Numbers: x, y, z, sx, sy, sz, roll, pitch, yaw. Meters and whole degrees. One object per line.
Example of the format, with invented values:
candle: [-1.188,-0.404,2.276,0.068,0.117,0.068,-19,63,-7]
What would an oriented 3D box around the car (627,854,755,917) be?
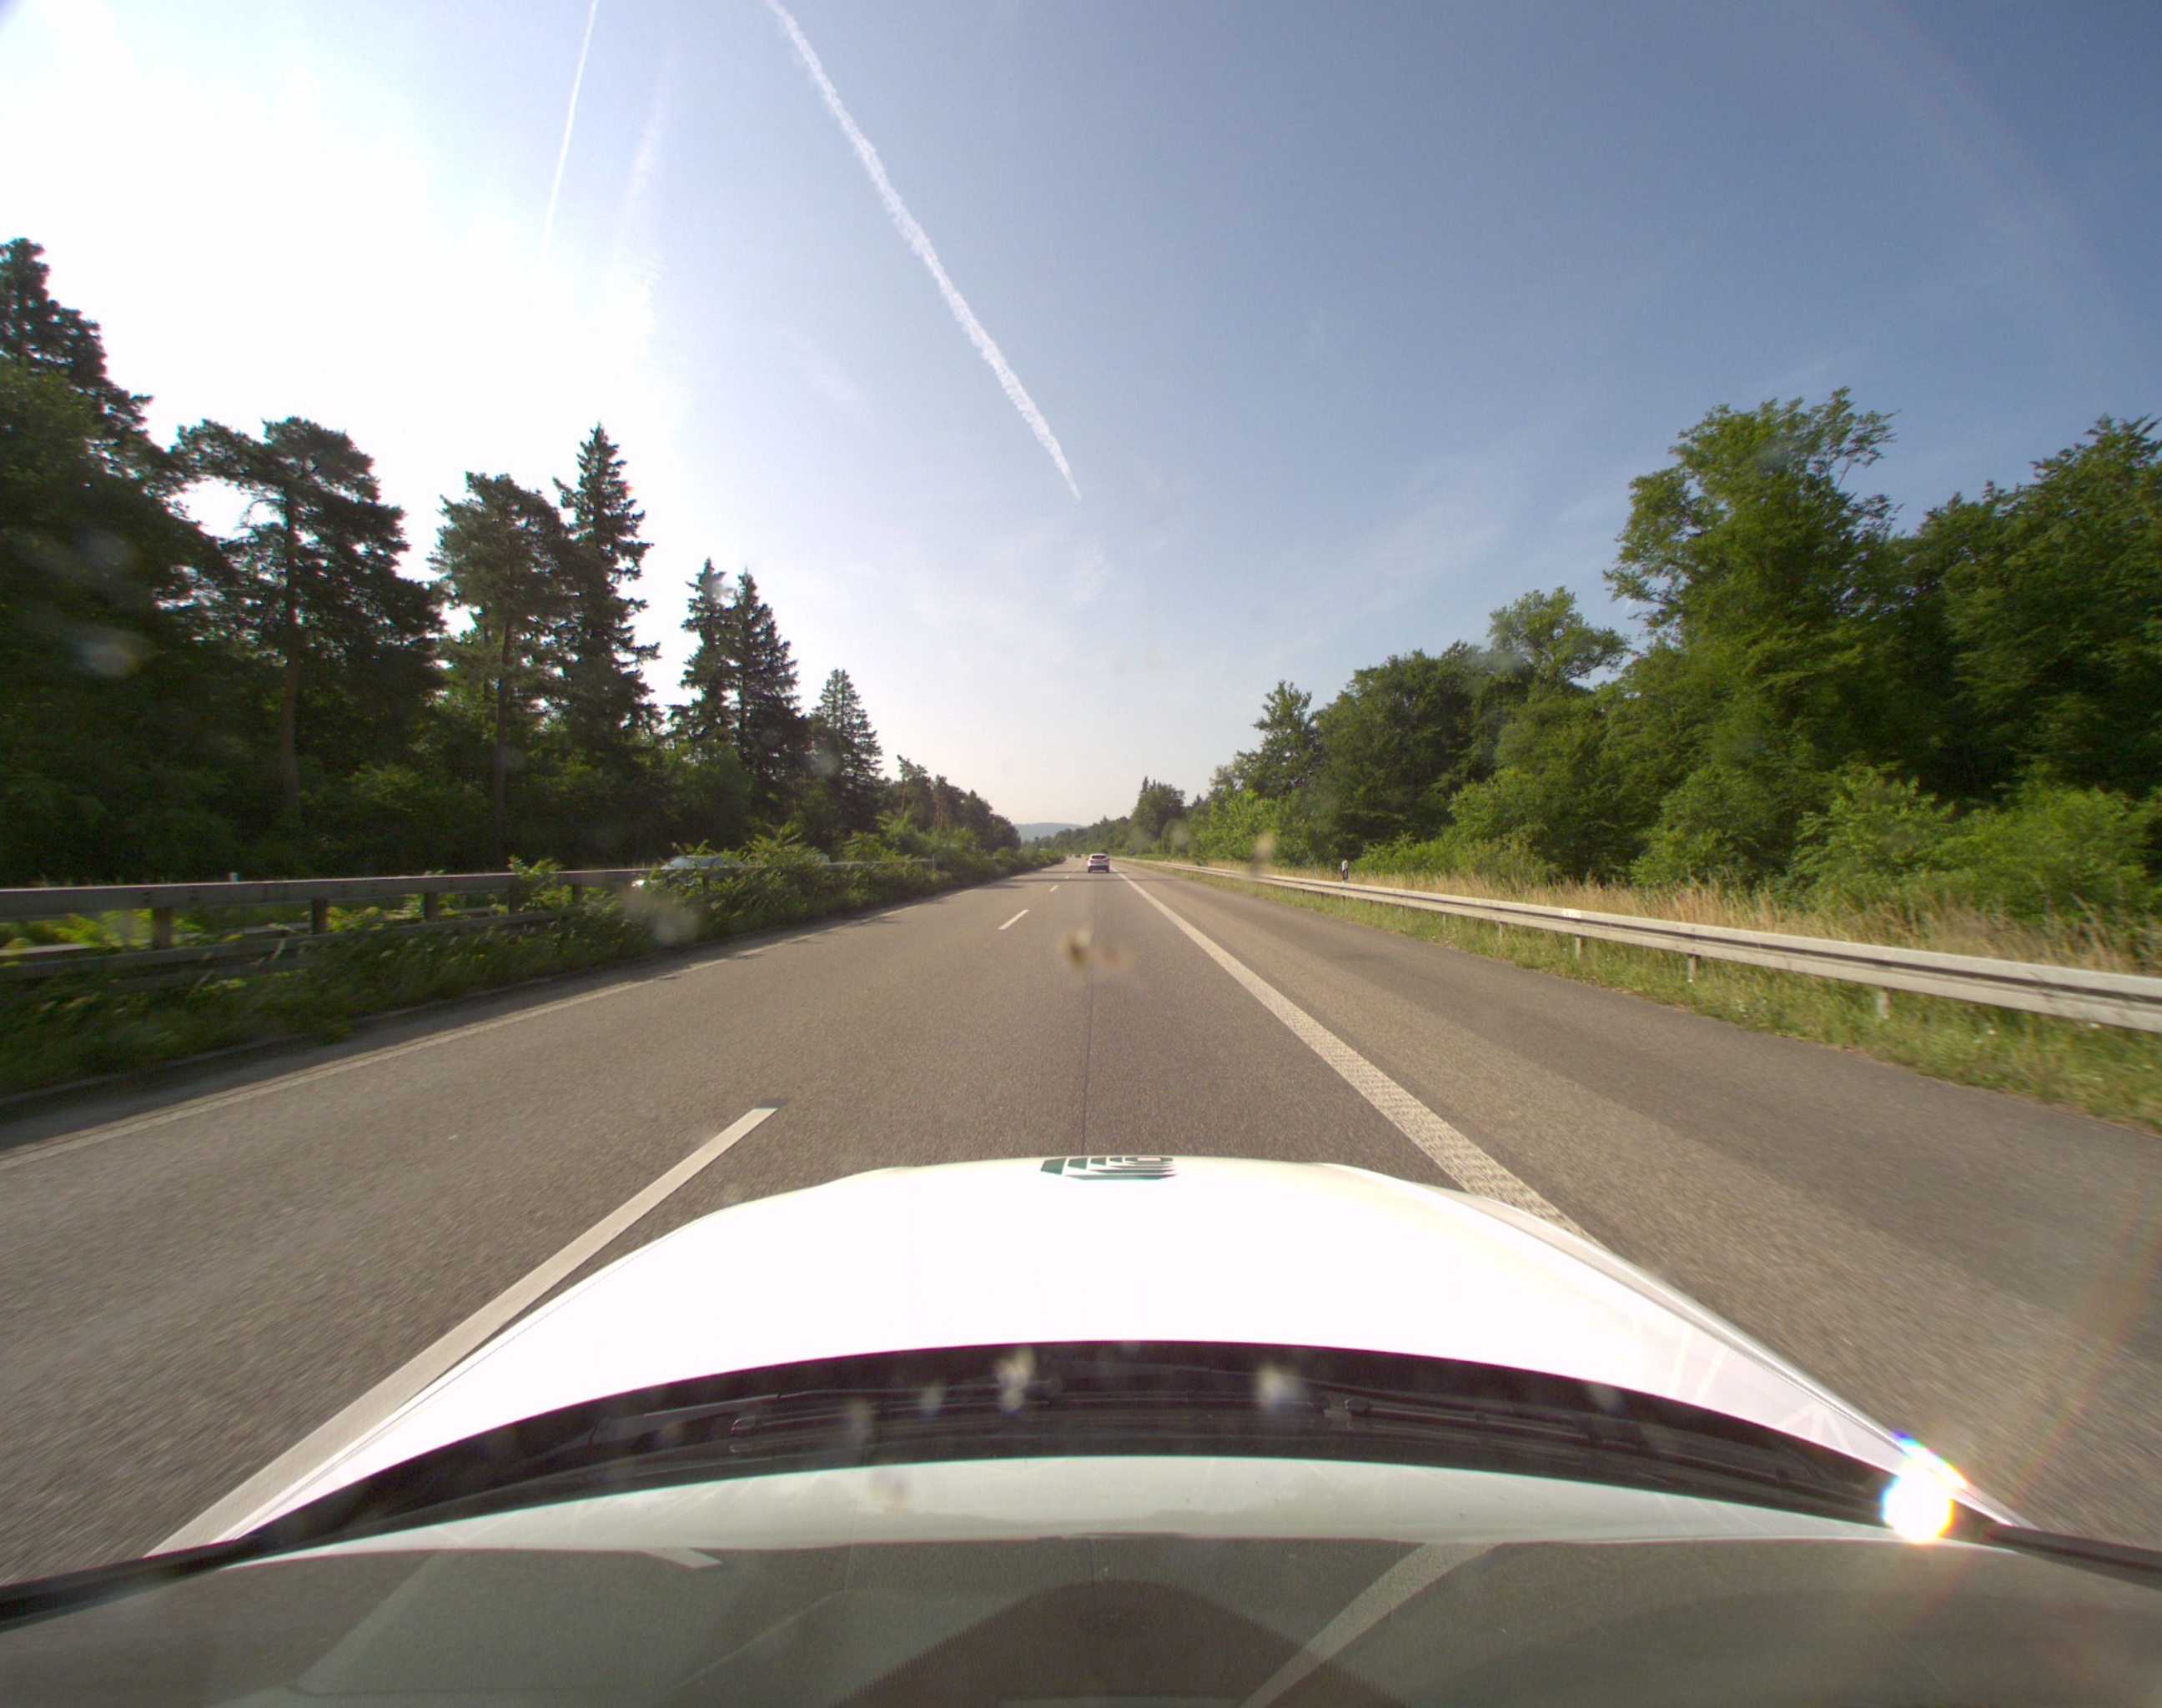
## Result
car: [-10.624,0.811,22.513,1.738,1.587,3.666,0,0,0]

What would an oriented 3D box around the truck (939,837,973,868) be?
truck: [-14.009,-0.168,91.618,2.454,3.176,7.228,-2,0,1]

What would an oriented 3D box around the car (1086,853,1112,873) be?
car: [1.513,0.765,68.646,1.869,1.586,3.995,1,0,-3]
